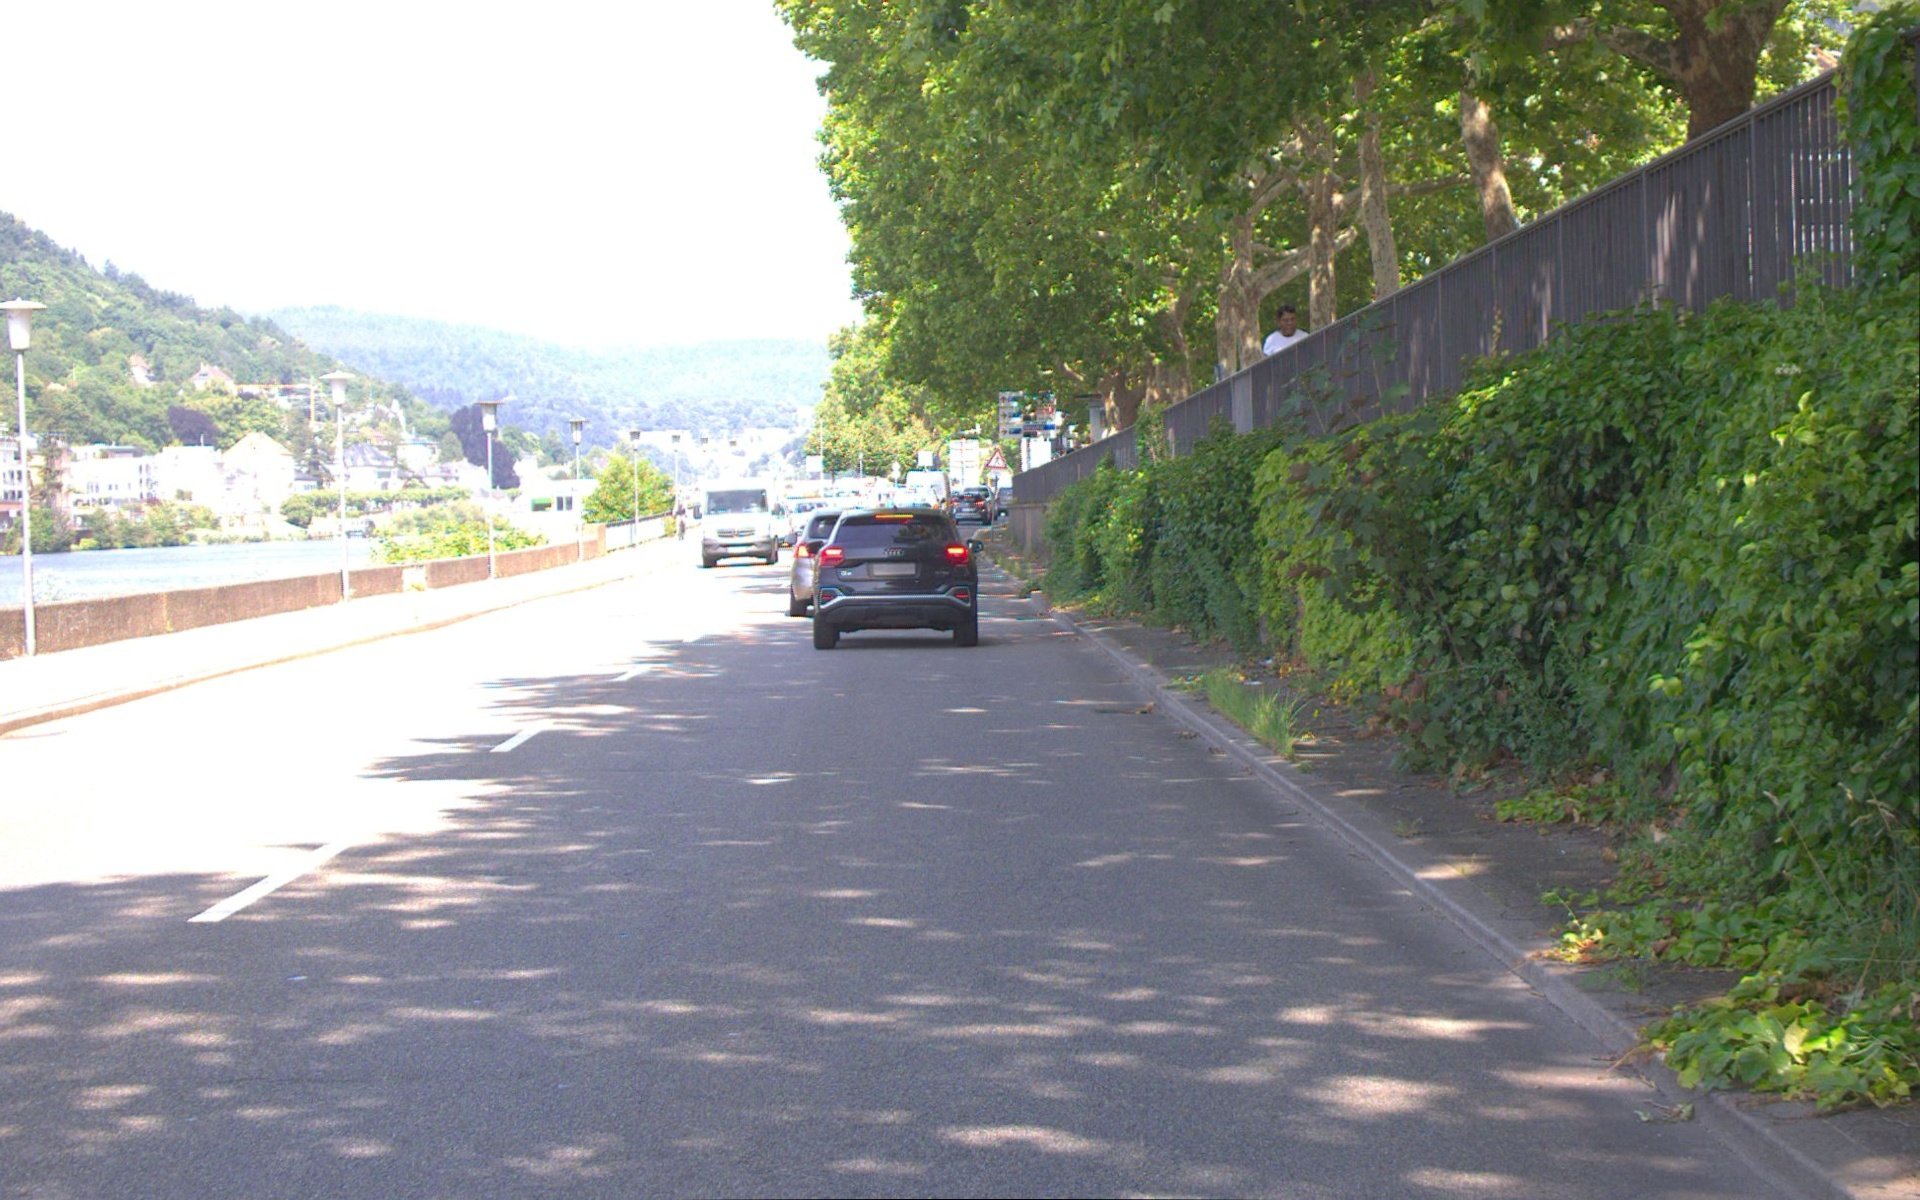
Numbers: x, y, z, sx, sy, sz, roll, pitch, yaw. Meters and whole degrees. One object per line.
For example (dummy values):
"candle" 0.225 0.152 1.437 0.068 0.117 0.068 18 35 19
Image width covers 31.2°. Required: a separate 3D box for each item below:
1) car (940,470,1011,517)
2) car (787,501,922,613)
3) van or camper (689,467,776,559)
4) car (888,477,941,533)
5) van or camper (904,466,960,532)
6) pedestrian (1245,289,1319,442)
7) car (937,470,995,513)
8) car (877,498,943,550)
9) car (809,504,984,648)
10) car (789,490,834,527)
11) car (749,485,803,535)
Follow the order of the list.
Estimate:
"car" 0.705 -5.097 164.253 3.098 2.006 5.825 -4 2 -1
"car" -1.492 -0.639 49.025 1.828 1.506 4.001 0 2 -2
"van or camper" -6.225 -2.411 94.538 2.077 2.390 5.386 -2 2 -1
"car" -1.861 -3.849 139.309 1.993 2.162 4.001 -2 2 -2
"van or camper" -1.238 -4.474 152.247 2.310 2.837 4.246 -2 2 1
"pedestrian" 3.440 -2.502 36.746 0.664 1.585 0.651 -2 2 -1
"car" 0.289 -5.515 174.861 2.661 2.006 5.825 -4 2 -1
"car" -1.464 -2.223 100.127 1.828 1.439 4.001 -2 2 -1
"car" -0.717 -0.305 38.021 1.828 1.481 4.001 0 2 -2
"car" -6.162 -3.790 142.952 1.731 1.437 4.046 -3 2 -1
"car" -6.510 -3.189 121.848 1.731 1.644 4.178 -3 2 -1
